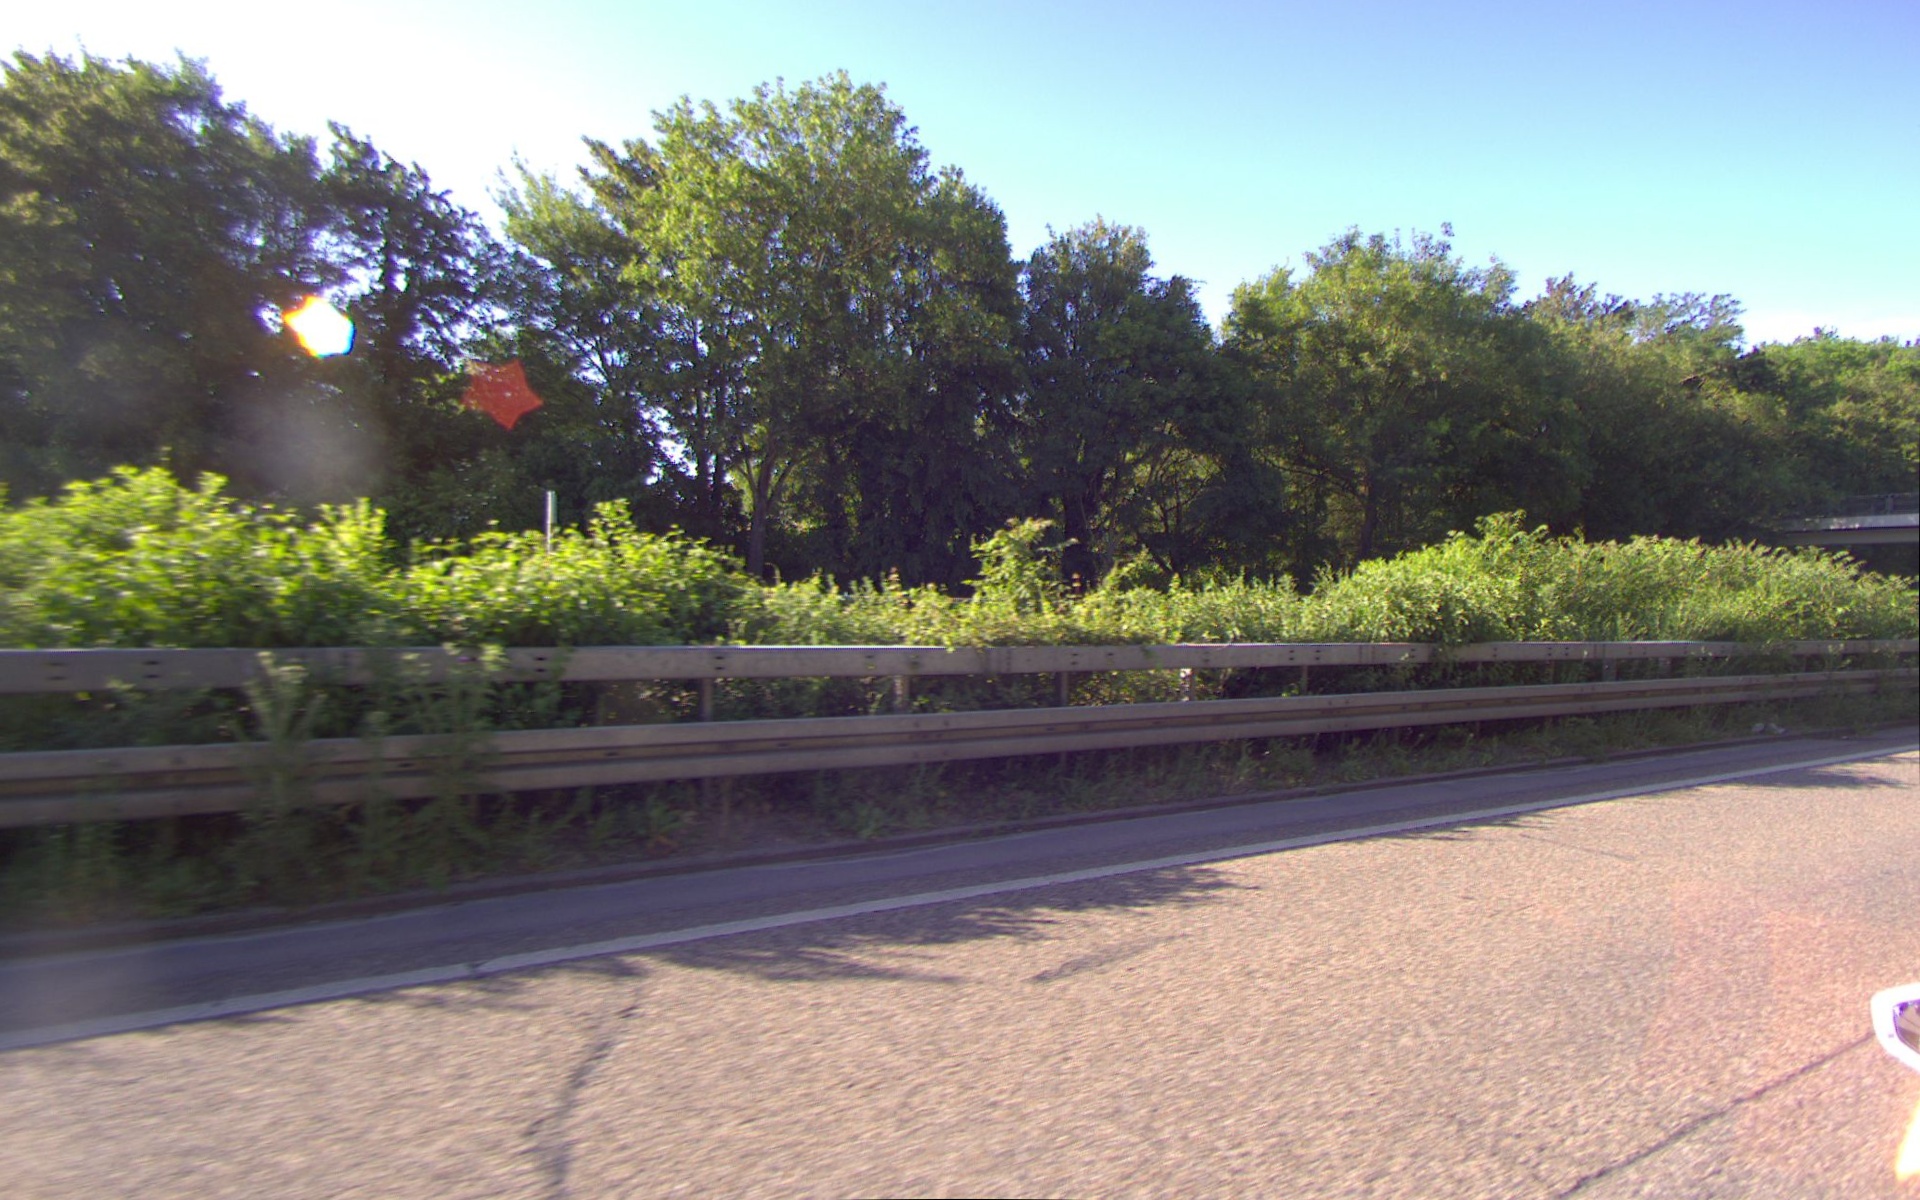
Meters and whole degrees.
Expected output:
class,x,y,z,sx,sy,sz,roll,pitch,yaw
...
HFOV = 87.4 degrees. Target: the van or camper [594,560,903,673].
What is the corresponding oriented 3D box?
class,x,y,z,sx,sy,sz,roll,pitch,yaw
van or camper,-4.210,0.329,20.484,5.868,2.041,1.868,1,1,-30
